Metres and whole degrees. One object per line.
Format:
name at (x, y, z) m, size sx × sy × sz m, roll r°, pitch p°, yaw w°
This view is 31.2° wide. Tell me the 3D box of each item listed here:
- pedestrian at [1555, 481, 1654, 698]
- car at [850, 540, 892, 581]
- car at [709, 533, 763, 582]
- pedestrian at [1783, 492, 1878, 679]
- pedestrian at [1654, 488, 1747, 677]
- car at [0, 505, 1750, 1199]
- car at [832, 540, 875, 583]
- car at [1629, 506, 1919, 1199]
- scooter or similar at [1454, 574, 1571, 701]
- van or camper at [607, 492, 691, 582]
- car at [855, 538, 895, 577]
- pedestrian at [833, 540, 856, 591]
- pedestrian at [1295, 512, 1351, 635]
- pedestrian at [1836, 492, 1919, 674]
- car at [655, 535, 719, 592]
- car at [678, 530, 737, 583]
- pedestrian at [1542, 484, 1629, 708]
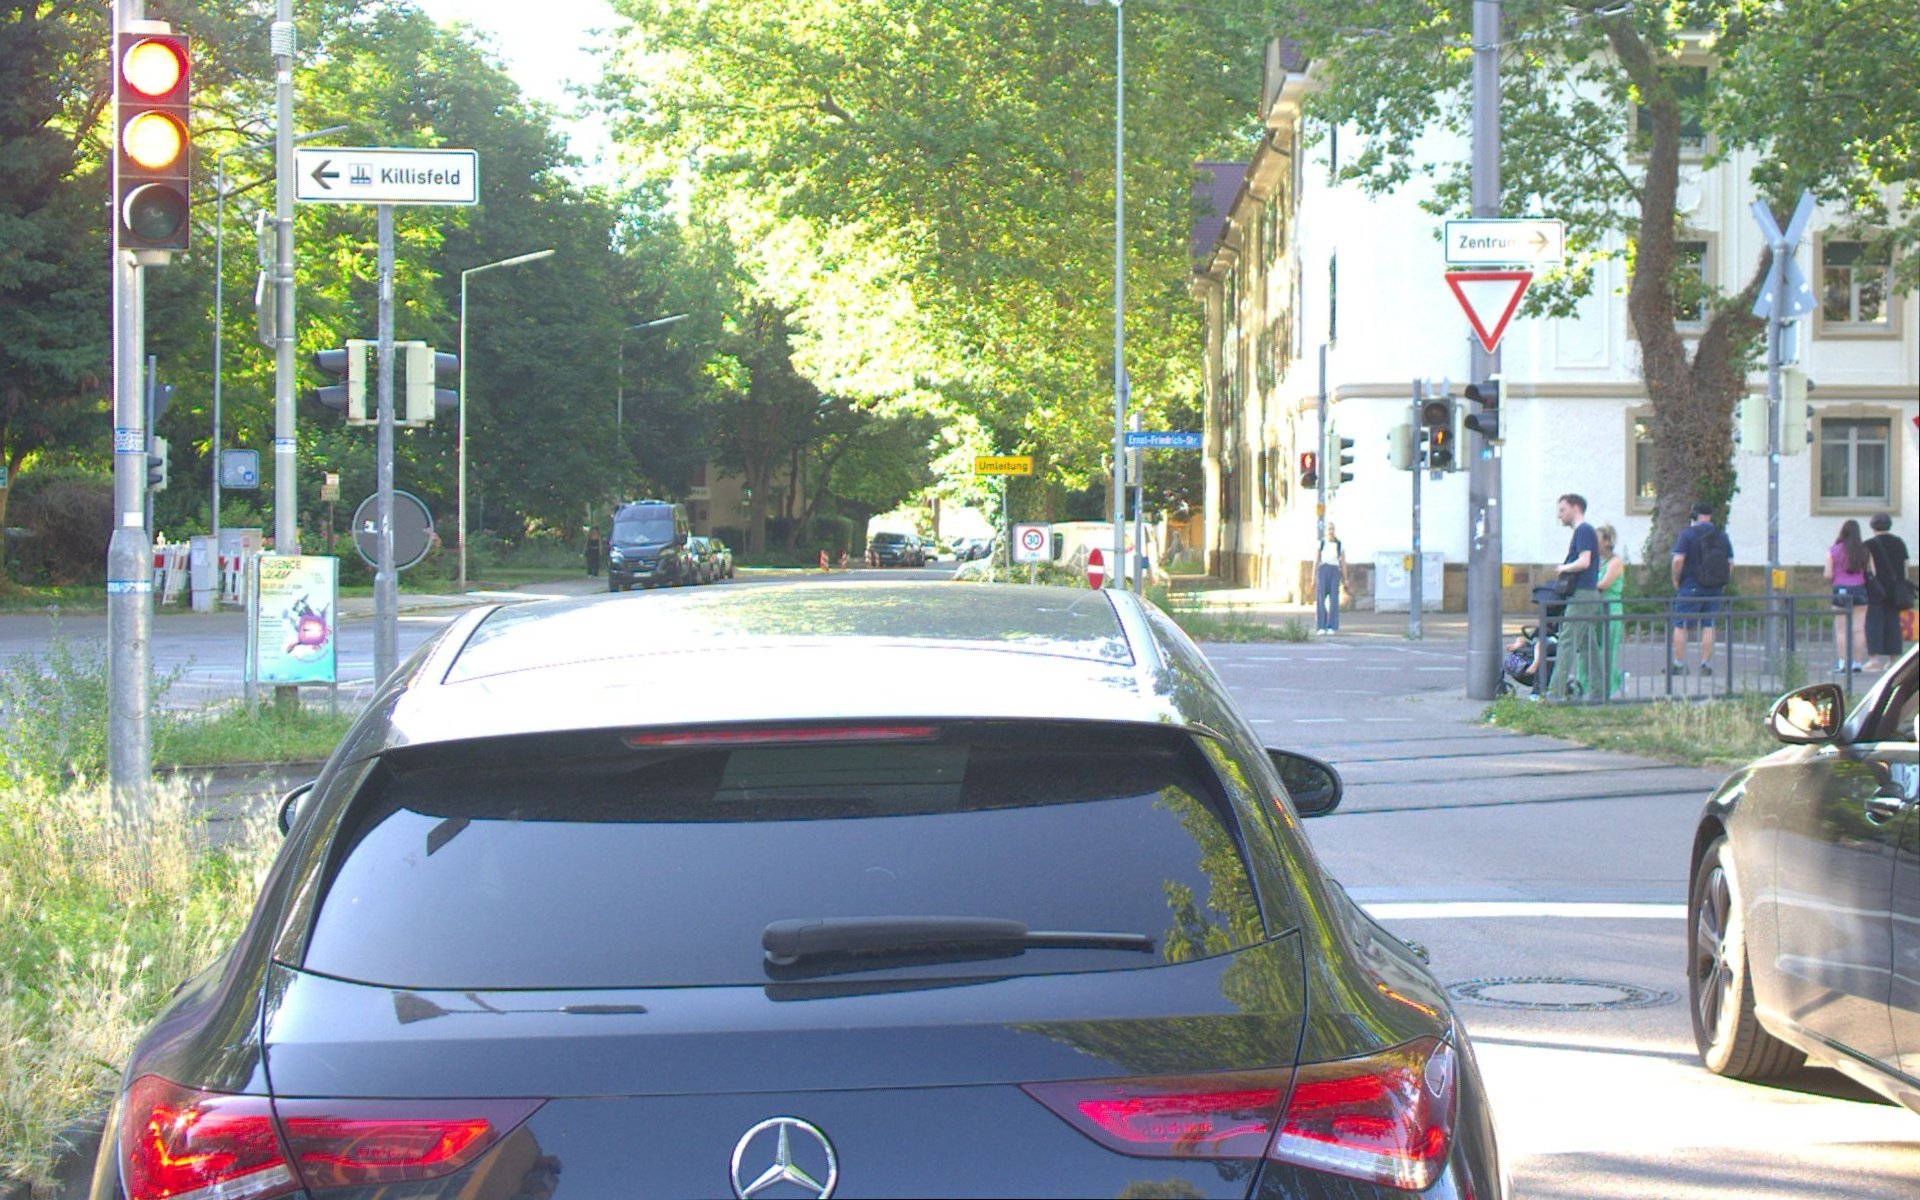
pedestrian at (5.786, -0.095, 30.890) m, size 0.682 × 1.911 × 0.707 m, roll 1°, pitch 0°, yaw -4°
car at (-3.881, -1.738, 150.382) m, size 1.733 × 1.759 × 4.019 m, roll 1°, pitch 1°, yaw -1°
car at (-8.230, -1.559, 126.402) m, size 1.733 × 1.759 × 3.971 m, roll 1°, pitch 1°, yaw -1°
pedestrian at (9.023, -0.149, 35.669) m, size 0.705 × 1.911 × 0.839 m, roll 1°, pitch 0°, yaw -4°
pedestrian at (7.601, -0.181, 35.312) m, size 0.705 × 1.911 × 0.839 m, roll 1°, pitch 0°, yaw -4°
car at (-0.170, 0.640, 5.342) m, size 1.889 × 1.445 × 4.001 m, roll 1°, pitch 3°, yaw 1°
car at (-4.485, -1.638, 145.562) m, size 1.733 × 1.759 × 4.019 m, roll 1°, pitch 1°, yaw -1°
car at (2.849, 0.613, 7.279) m, size 1.889 × 1.485 × 4.382 m, roll 1°, pitch 3°, yaw -1°
scooter or similar at (4.913, 0.328, 30.601) m, size 0.828 × 1.101 × 0.809 m, roll 1°, pitch 0°, yaw -6°
van or camper at (-8.995, -1.799, 99.737) m, size 1.993 × 2.532 × 4.651 m, roll 1°, pitch 1°, yaw 0°
car at (-3.904, -1.960, 158.464) m, size 1.733 × 1.759 × 4.019 m, roll 1°, pitch 1°, yaw -1°
pedestrian at (-4.369, -1.317, 130.026) m, size 0.705 × 1.911 × 0.839 m, roll 1°, pitch 0°, yaw -10°
pedestrian at (5.696, -0.418, 54.001) m, size 0.705 × 1.911 × 0.839 m, roll 1°, pitch 0°, yaw -4°
pedestrian at (9.834, -0.178, 36.669) m, size 0.705 × 1.911 × 0.839 m, roll 1°, pitch 0°, yaw -4°
car at (-8.694, -1.151, 109.758) m, size 1.733 × 1.759 × 4.342 m, roll 1°, pitch 1°, yaw -1°
car at (-8.619, -1.476, 117.542) m, size 1.733 × 1.759 × 4.085 m, roll 1°, pitch 1°, yaw -1°
pedestrian at (5.428, -0.037, 29.813) m, size 0.683 × 1.911 × 0.707 m, roll 1°, pitch 0°, yaw 14°
